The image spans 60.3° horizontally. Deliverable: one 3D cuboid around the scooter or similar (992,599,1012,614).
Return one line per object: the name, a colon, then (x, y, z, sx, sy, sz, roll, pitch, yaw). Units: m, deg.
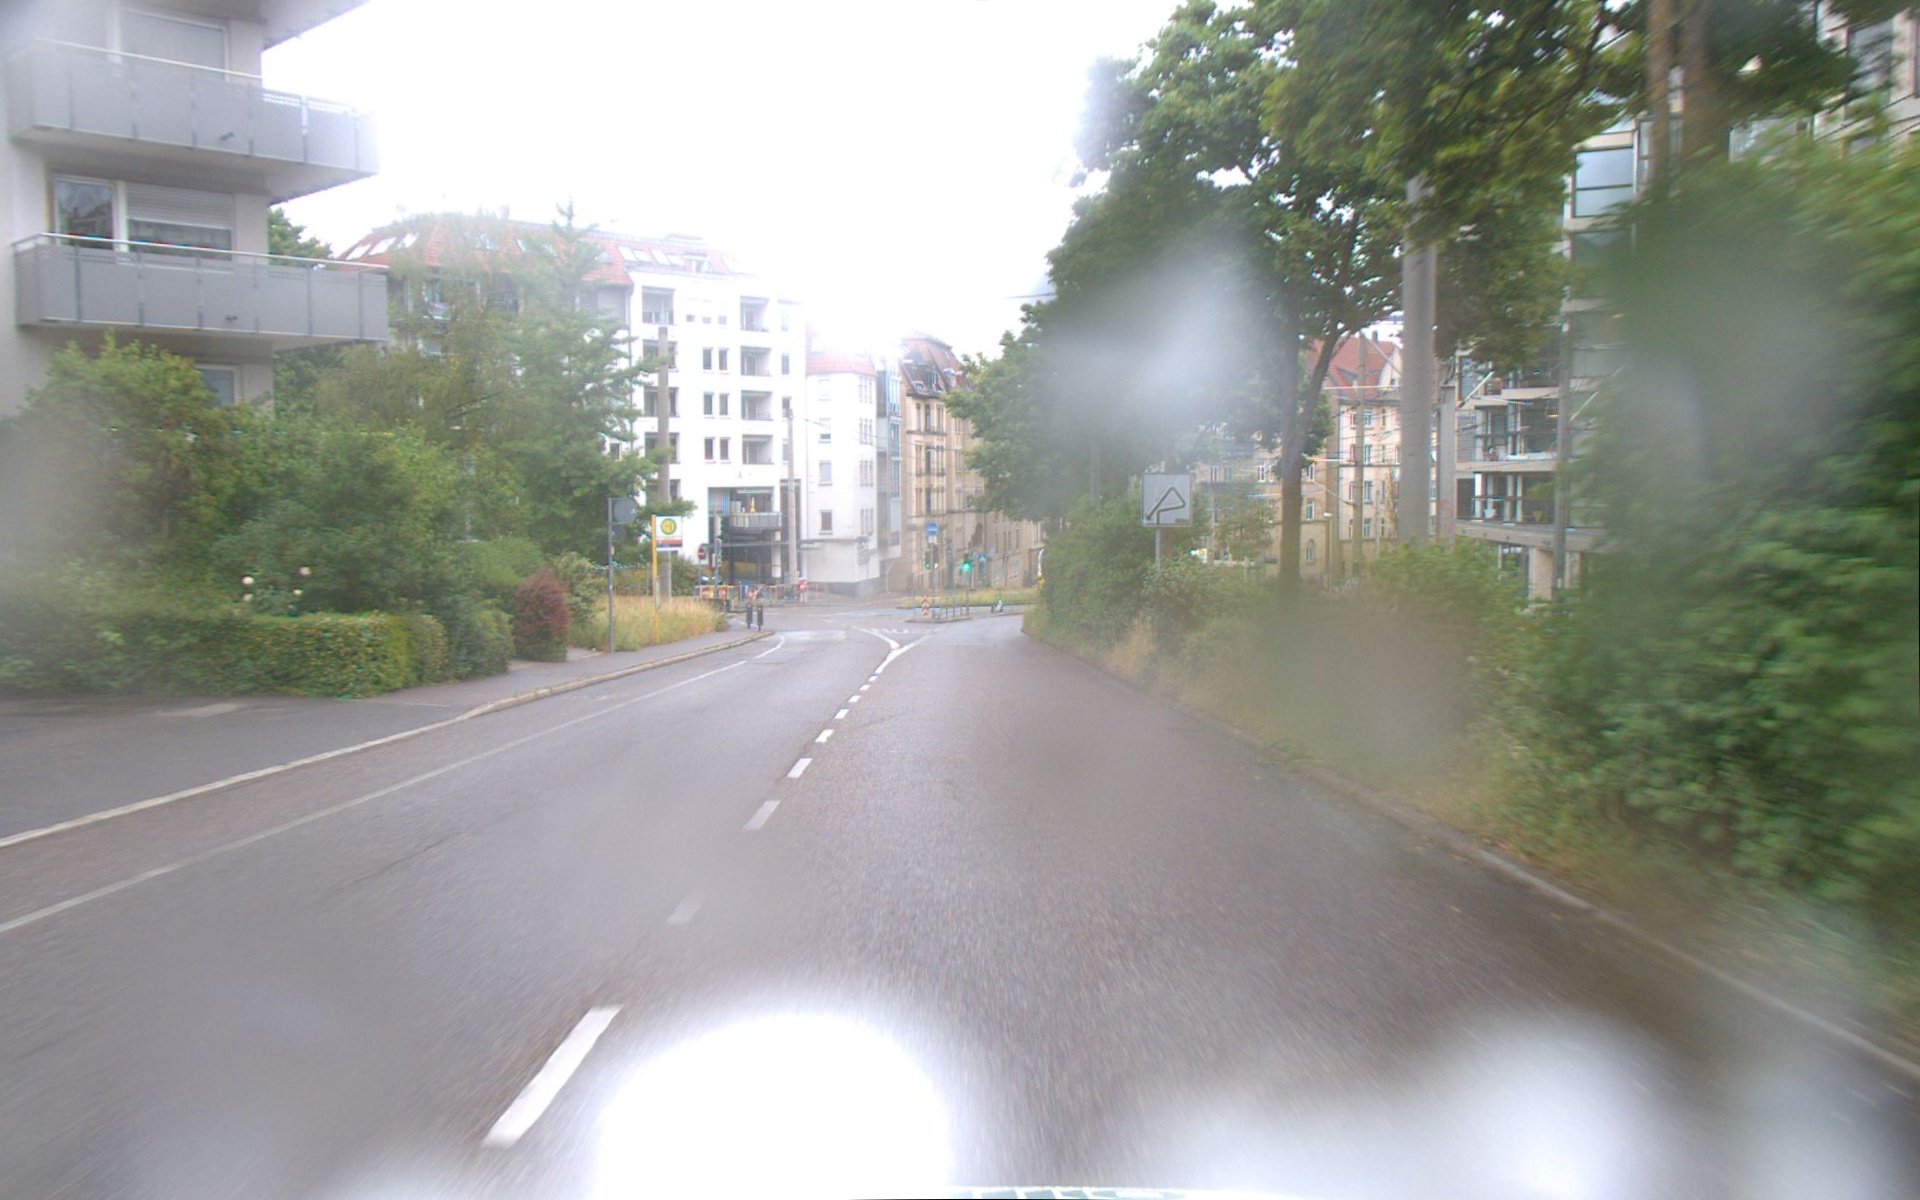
scooter or similar: (2.083, 0.328, 82.785, 0.475, 0.775, 1.328, 0, 0, 27)

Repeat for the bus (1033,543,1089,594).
bus: (5.972, -1.849, 97.665, 1.954, 2.921, 3.997, 0, 0, 25)
